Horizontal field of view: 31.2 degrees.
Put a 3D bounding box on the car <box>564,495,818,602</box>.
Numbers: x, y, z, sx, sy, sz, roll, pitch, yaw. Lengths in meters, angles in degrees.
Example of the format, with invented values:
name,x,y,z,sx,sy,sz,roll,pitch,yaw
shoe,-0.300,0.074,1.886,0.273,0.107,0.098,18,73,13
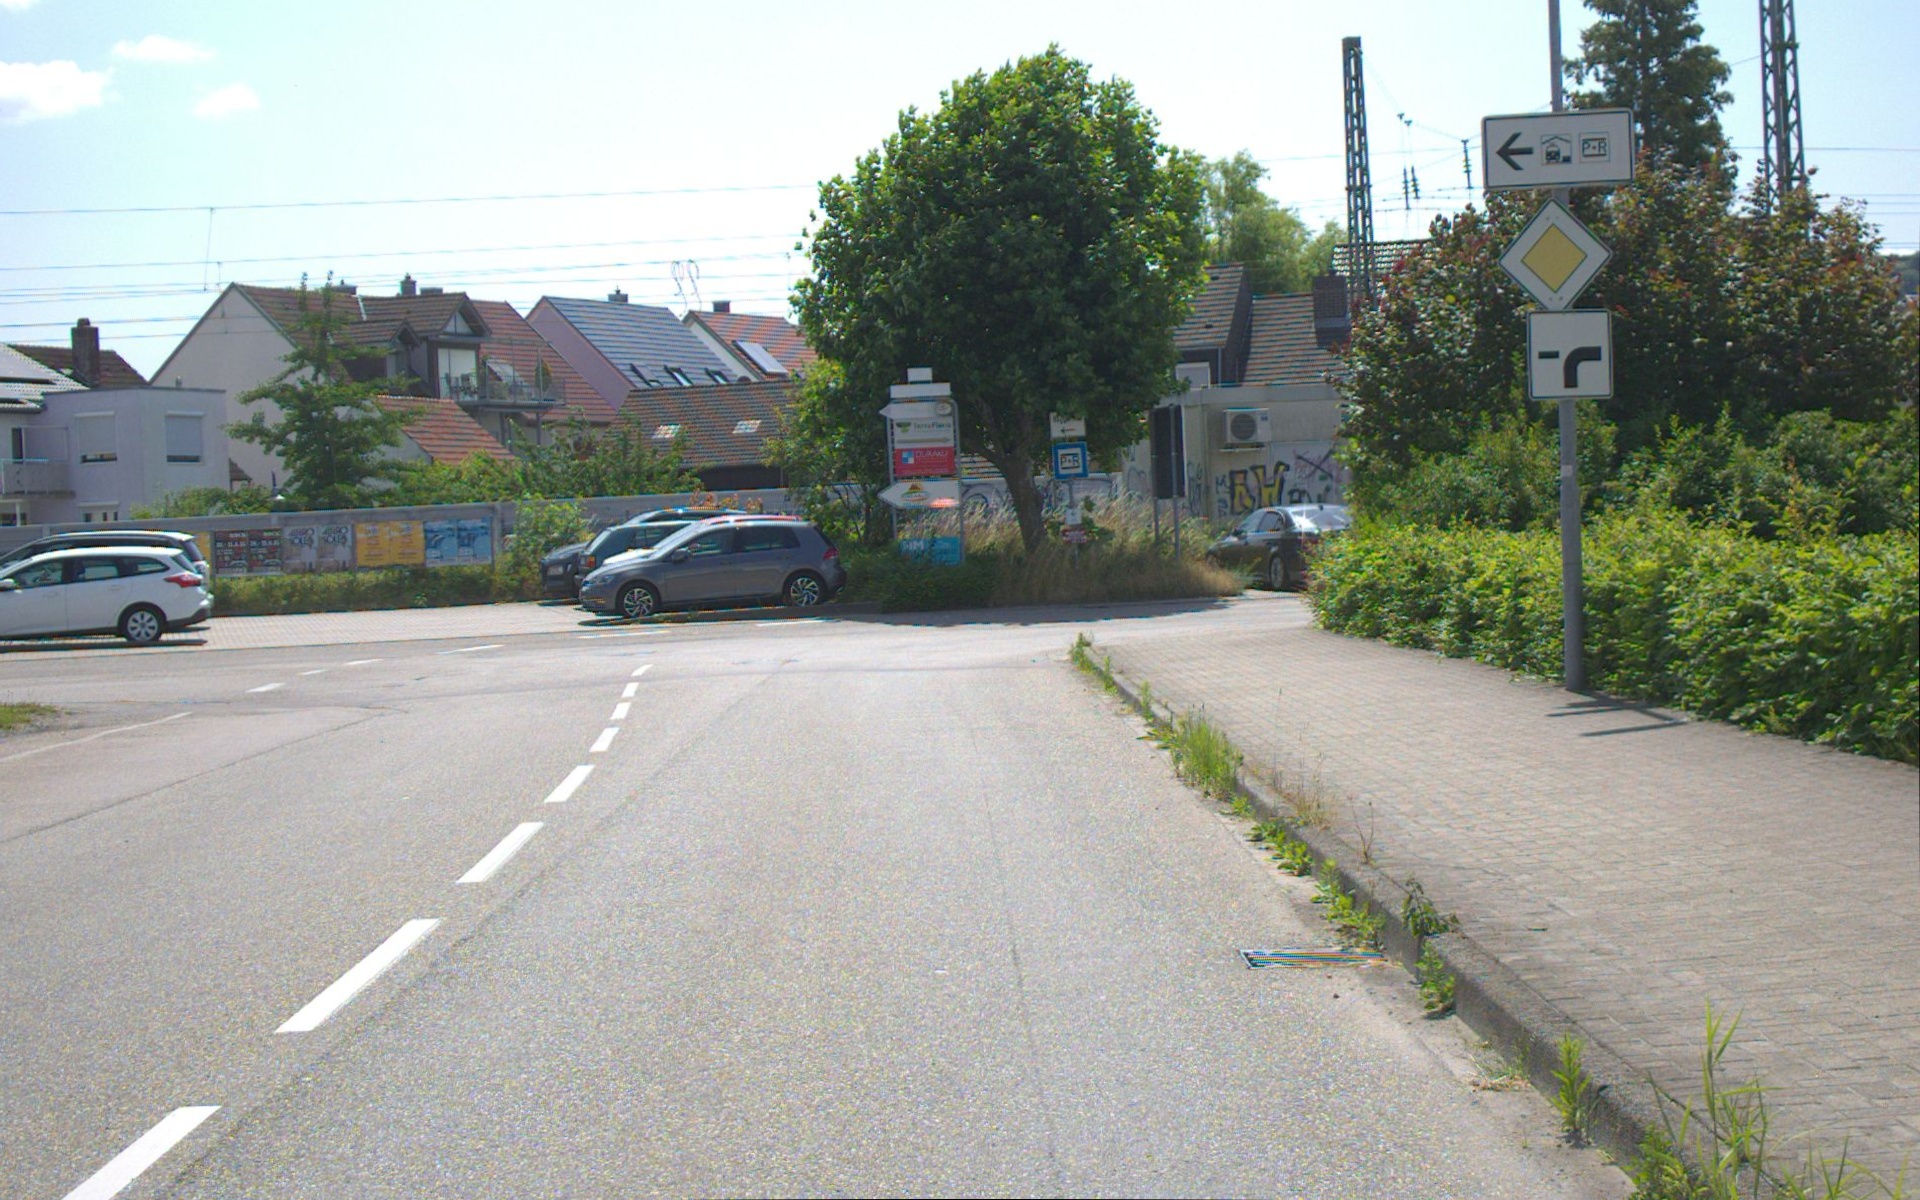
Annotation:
name,x,y,z,sx,sy,sz,roll,pitch,yaw
car,-4.468,-0.854,56.843,3.986,1.581,1.780,-3,1,-10

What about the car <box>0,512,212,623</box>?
name,x,y,z,sx,sy,sz,roll,pitch,yaw
car,-14.840,-0.539,57.385,4.451,1.684,2.001,-2,3,-9

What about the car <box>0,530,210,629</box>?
name,x,y,z,sx,sy,sz,roll,pitch,yaw
car,-13.720,-0.320,52.788,4.281,1.472,1.828,-1,1,-12

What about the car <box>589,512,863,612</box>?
name,x,y,z,sx,sy,sz,roll,pitch,yaw
car,-3.744,-0.607,54.819,4.186,1.458,1.665,-2,1,-9

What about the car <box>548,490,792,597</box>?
name,x,y,z,sx,sy,sz,roll,pitch,yaw
car,-5.057,-0.987,59.726,3.986,1.651,2.001,-3,2,-10

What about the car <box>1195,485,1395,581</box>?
name,x,y,z,sx,sy,sz,roll,pitch,yaw
car,5.619,-1.159,58.167,1.751,1.381,4.002,-1,5,-21

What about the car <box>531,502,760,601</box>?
name,x,y,z,sx,sy,sz,roll,pitch,yaw
car,-5.718,-0.879,62.287,3.986,1.724,1.771,-1,1,-10
